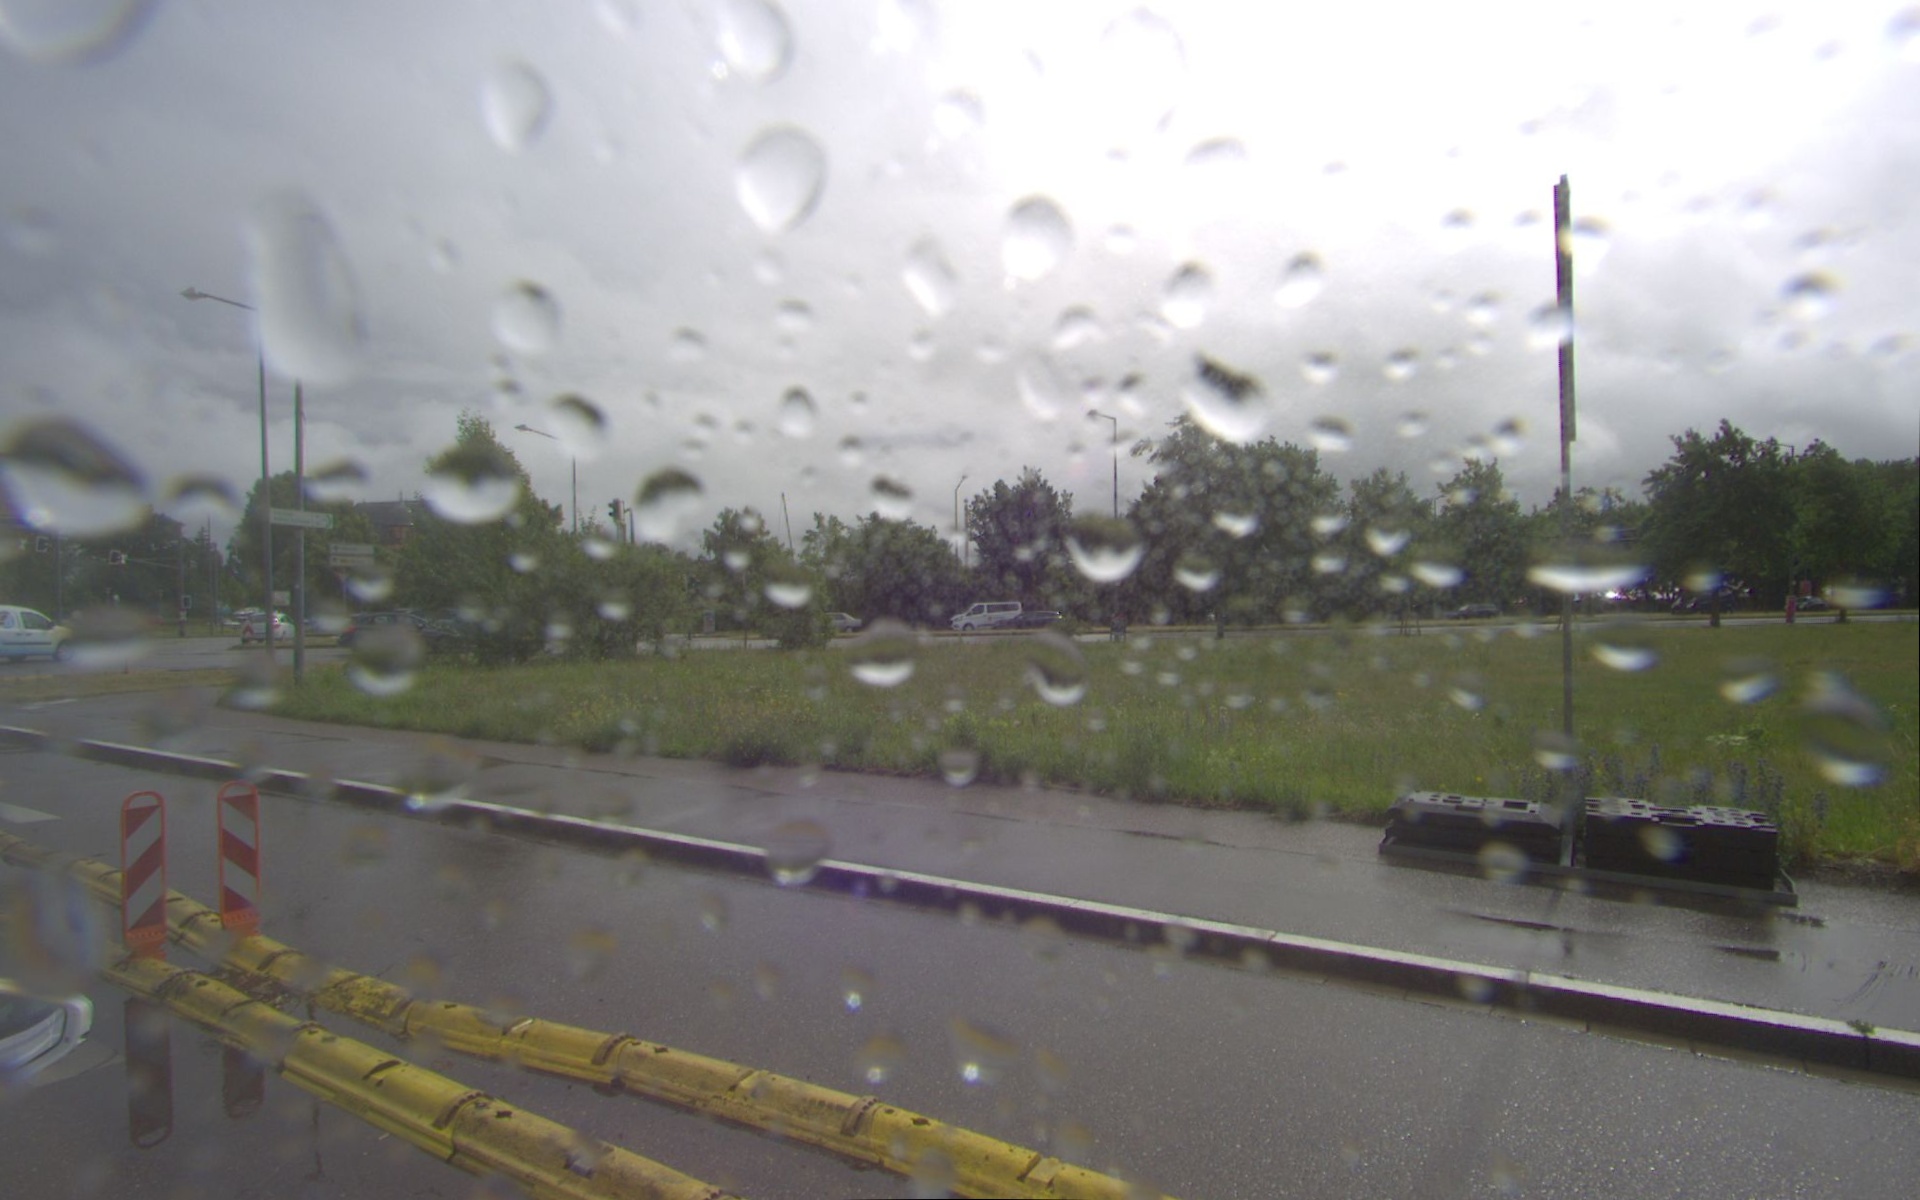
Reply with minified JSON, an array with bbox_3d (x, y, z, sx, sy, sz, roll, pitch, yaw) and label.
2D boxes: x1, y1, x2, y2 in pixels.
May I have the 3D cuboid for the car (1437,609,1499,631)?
[{"bbox_3d":[38.285,1.474,75.484,4.158,1.579,1.541,0,0,-14],"label":"car"}]

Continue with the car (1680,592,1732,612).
[{"bbox_3d":[60.040,0.138,80.570,3.459,1.579,1.541,0,0,-14],"label":"car"}]

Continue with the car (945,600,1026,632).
[{"bbox_3d":[1.645,1.024,65.332,4.873,1.944,1.996,0,0,-16],"label":"car"}]

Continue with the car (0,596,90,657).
[{"bbox_3d":[-29.984,0.810,31.253,1.834,1.833,4.404,0,-1,0],"label":"car"}]

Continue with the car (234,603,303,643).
[{"bbox_3d":[-33.539,1.076,48.673,1.968,1.854,3.986,-1,0,-24],"label":"car"}]

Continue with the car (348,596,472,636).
[{"bbox_3d":[-22.852,0.666,41.644,4.349,1.568,1.857,0,-1,-36],"label":"car"}]

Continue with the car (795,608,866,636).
[{"bbox_3d":[-7.750,1.281,59.904,4.038,1.581,1.912,0,0,-12],"label":"car"}]

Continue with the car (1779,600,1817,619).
[{"bbox_3d":[71.033,0.825,84.917,1.518,1.579,3.513,0,0,24],"label":"car"}]

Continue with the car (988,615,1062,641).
[{"bbox_3d":[4.063,1.742,62.771,4.227,1.581,1.911,0,0,-14],"label":"car"}]
